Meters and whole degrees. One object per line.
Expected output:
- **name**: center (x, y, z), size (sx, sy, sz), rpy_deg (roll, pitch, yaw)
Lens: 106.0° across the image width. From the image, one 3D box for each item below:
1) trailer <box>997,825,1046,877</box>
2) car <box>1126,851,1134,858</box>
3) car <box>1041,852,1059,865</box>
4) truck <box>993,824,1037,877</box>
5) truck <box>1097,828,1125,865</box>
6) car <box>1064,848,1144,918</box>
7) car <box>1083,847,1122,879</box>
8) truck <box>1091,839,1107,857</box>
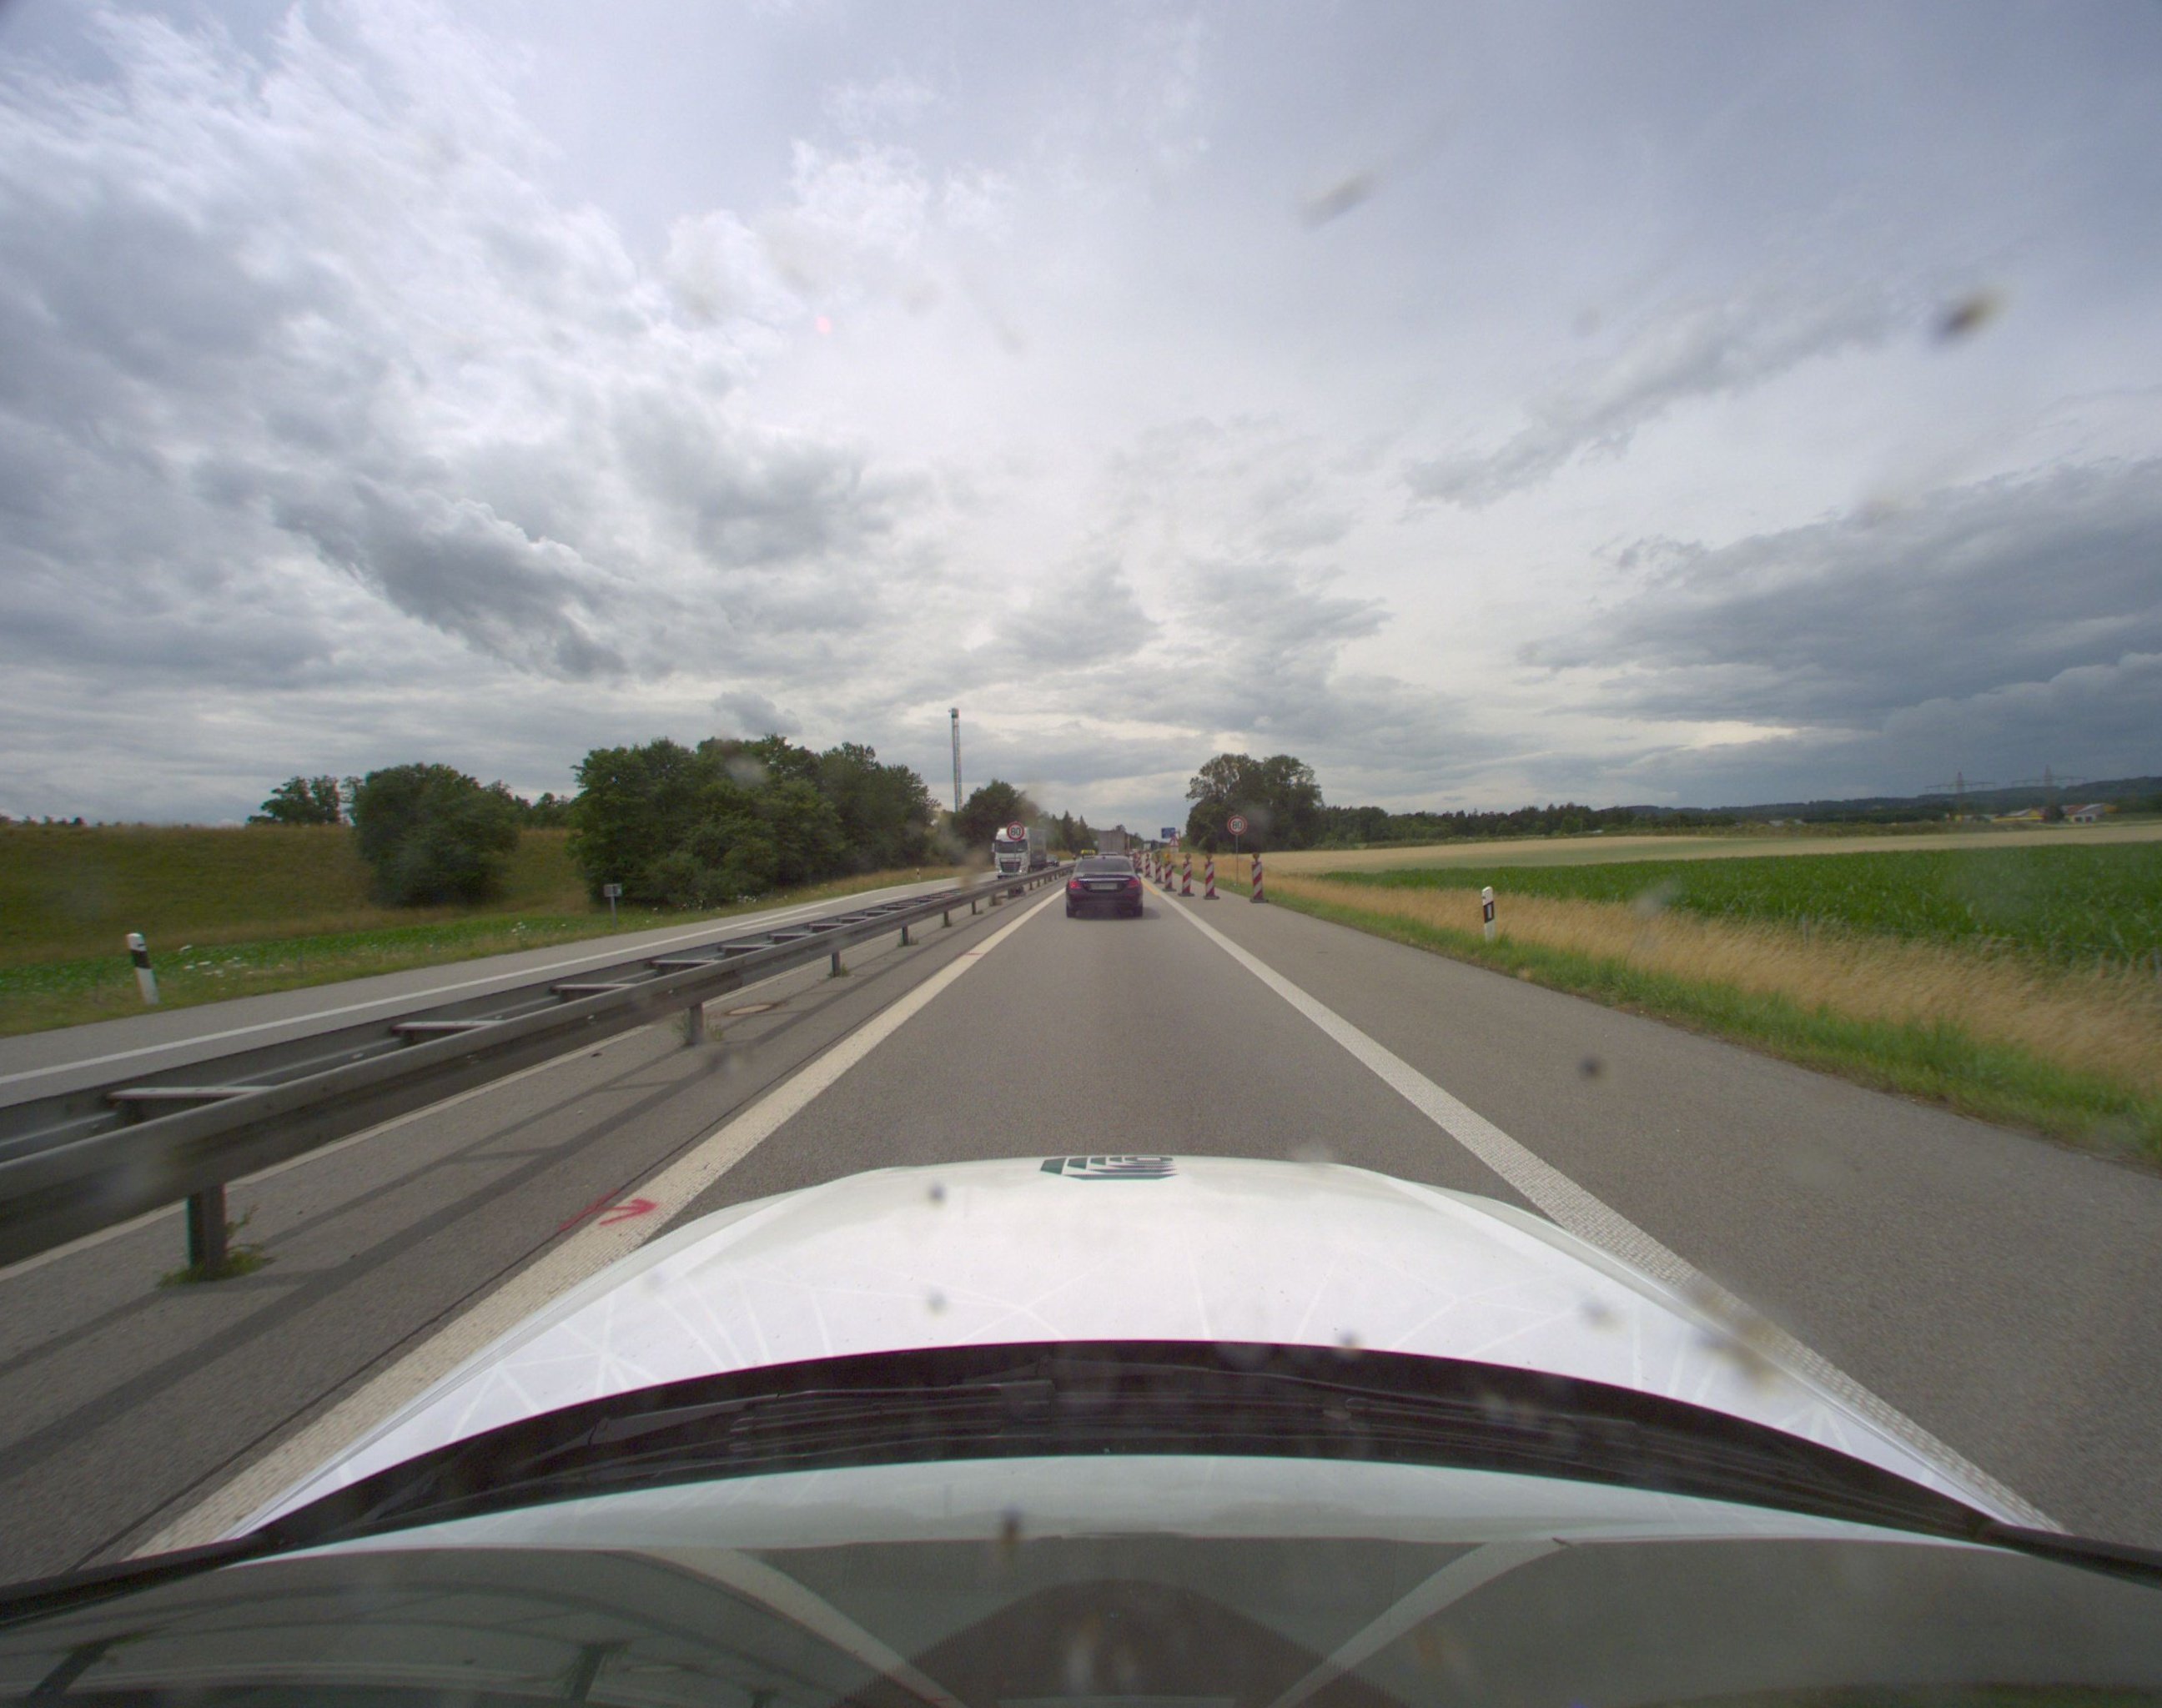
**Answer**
- **trailer**: center (-5.114, -0.190, 72.967), size (2.788, 4.173, 13.570), rpy_deg (-1, -1, 2)
- **car**: center (11.510, 0.135, 192.323), size (1.644, 1.395, 3.704), rpy_deg (-1, -1, -1)
- **car**: center (-3.933, 0.604, 105.042), size (1.986, 1.684, 4.235), rpy_deg (-1, -1, 2)
- **truck**: center (-5.349, -0.234, 67.155), size (2.788, 4.142, 7.232), rpy_deg (-1, -1, 2)
- **truck**: center (2.863, -0.681, 79.047), size (2.577, 3.524, 4.814), rpy_deg (-1, -1, 2)
- **car**: center (0.554, 0.668, 20.271), size (1.789, 1.560, 4.000), rpy_deg (-1, -1, 1)
- **car**: center (1.350, 0.590, 52.965), size (1.991, 2.014, 3.991), rpy_deg (0, -1, -6)
- **truck**: center (4.250, -1.329, 193.734), size (3.107, 4.213, 6.792), rpy_deg (-1, -1, 6)
